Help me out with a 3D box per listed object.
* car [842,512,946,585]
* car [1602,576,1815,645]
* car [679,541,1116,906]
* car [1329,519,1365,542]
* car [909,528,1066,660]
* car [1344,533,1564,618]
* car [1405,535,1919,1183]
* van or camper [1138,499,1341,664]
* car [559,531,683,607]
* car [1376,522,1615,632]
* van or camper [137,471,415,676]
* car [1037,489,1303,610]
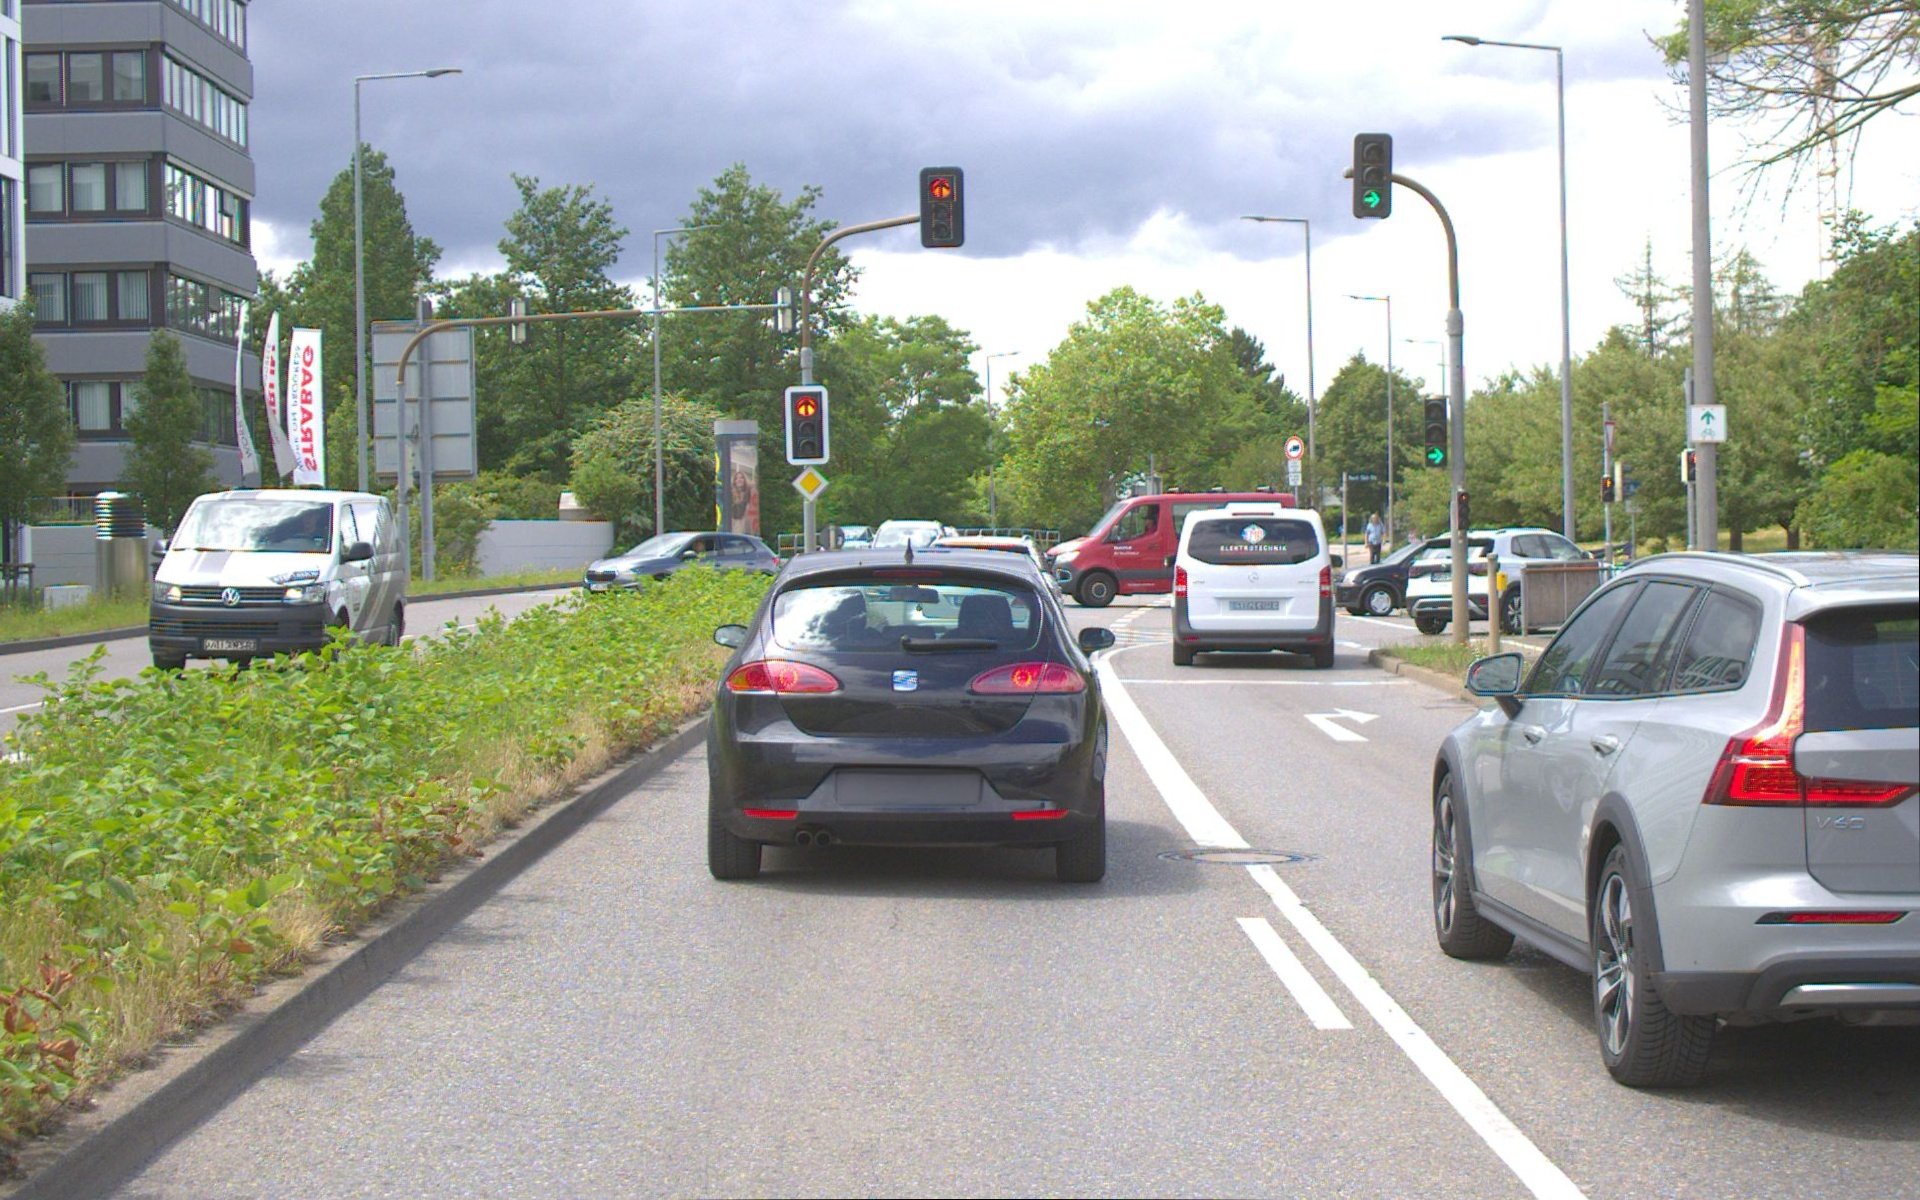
[{"bbox_3d":[-1.459,-1.181,77.344,1.994,1.590,4.000,0,1,4],"label":"car"},{"bbox_3d":[15.245,0.202,70.204,3.987,1.349,2.000,0,1,4],"label":"car"},{"bbox_3d":[-0.227,0.476,15.876,1.773,1.447,3.582,1,1,1],"label":"car"},{"bbox_3d":[23.882,-4.295,212.088,1.994,1.347,3.999,1,1,9],"label":"car"},{"bbox_3d":[0.293,-0.108,41.606,1.773,1.486,3.583,-1,1,-1],"label":"car"},{"bbox_3d":[9.367,-0.478,65.446,3.987,1.590,2.000,0,1,4],"label":"car"},{"bbox_3d":[2.615,0.583,10.508,1.863,1.513,4.447,-1,1,-1],"label":"car"},{"bbox_3d":[3.307,-0.258,41.537,1.993,1.853,4.944,0,1,-1],"label":"van or camper"},{"bbox_3d":[-6.411,-0.614,65.412,1.932,1.393,4.000,0,1,0],"label":"car"},{"bbox_3d":[8.199,-0.376,52.406,1.998,1.590,3.992,0,1,36],"label":"car"},{"bbox_3d":[-7.131,-0.302,36.338,1.993,2.007,4.816,0,1,0],"label":"van or camper"},{"bbox_3d":[4.266,-1.037,70.441,5.223,2.404,2.000,-1,1,-3],"label":"car"}]
